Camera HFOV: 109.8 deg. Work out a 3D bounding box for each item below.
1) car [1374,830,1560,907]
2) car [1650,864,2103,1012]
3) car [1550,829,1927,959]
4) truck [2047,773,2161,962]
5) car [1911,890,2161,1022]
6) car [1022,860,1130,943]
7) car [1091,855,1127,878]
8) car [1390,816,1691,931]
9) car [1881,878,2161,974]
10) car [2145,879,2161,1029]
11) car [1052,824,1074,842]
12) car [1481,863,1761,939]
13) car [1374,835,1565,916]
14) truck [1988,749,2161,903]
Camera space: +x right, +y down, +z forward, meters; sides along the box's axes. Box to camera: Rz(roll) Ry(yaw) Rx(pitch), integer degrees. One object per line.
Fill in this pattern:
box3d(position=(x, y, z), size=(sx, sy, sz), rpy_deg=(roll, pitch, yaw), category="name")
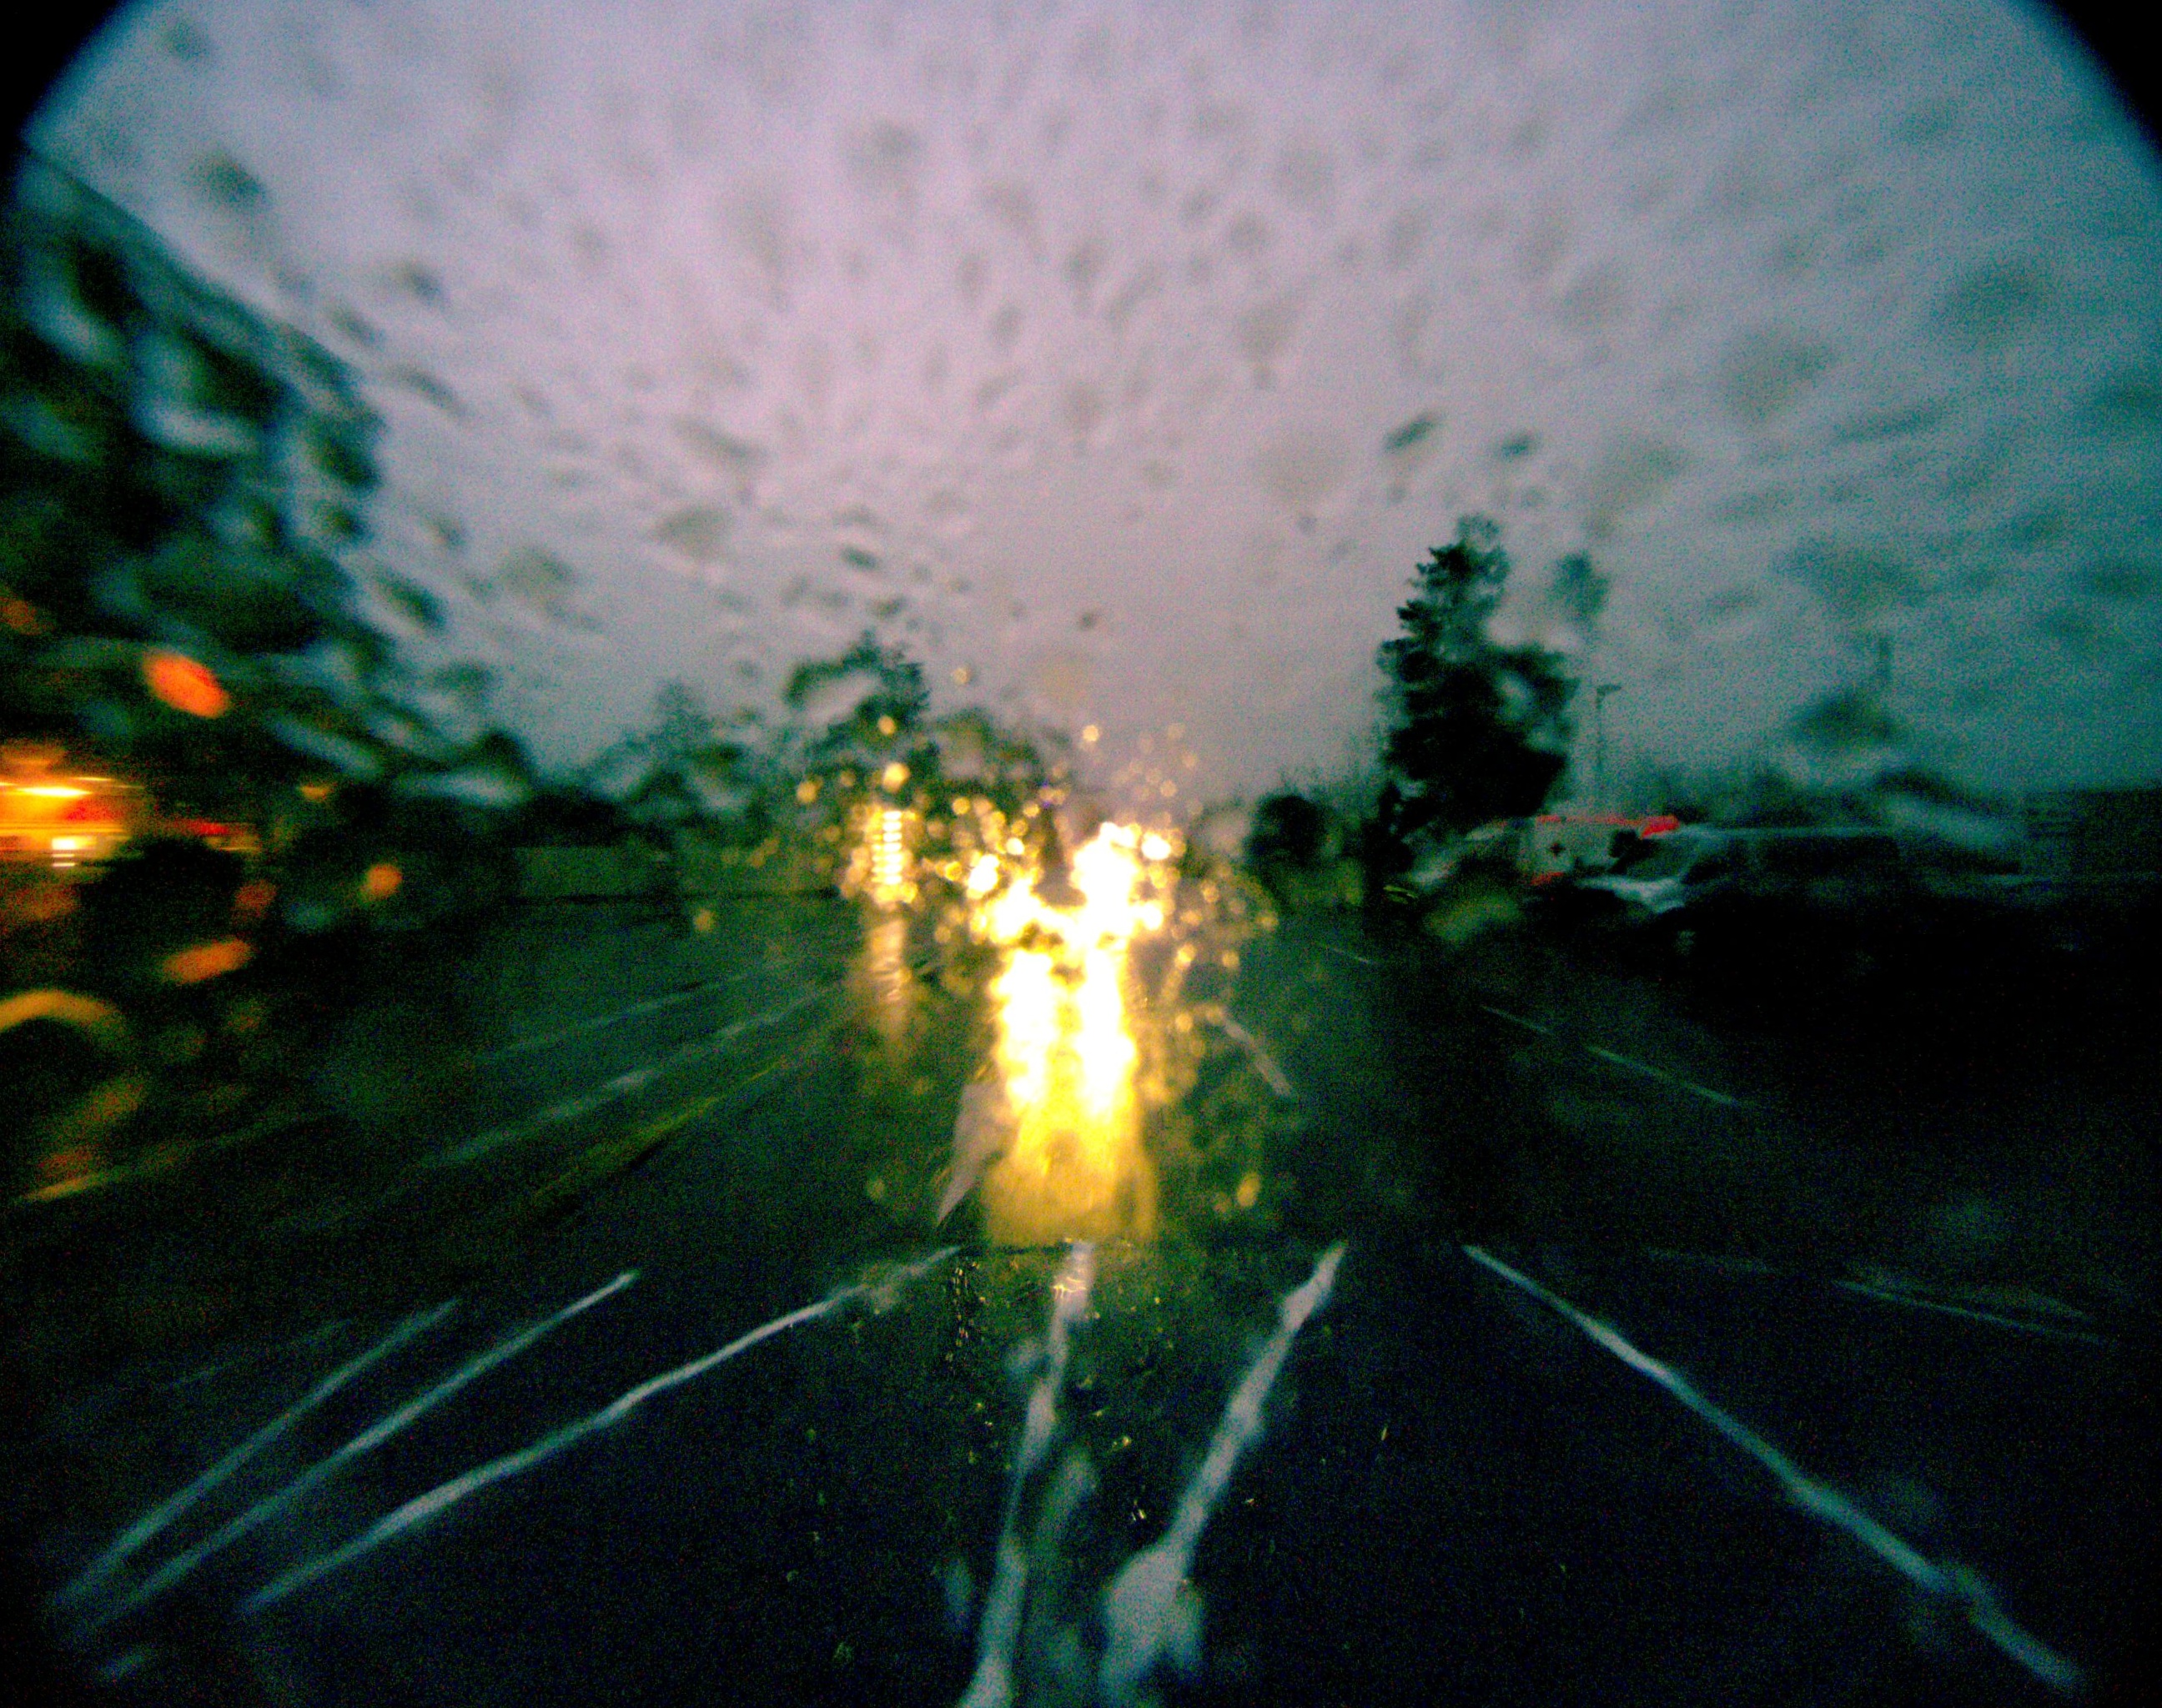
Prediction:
box3d(position=(12.718, 0.466, 25.263), size=(5.115, 2.376, 2.081), rpy_deg=(1, 0, -1), category="car")
box3d(position=(9.085, 0.853, 9.217), size=(1.655, 1.411, 3.744), rpy_deg=(0, -1, 2), category="car")
box3d(position=(12.001, 0.694, 14.187), size=(5.158, 2.137, 2.059), rpy_deg=(1, 0, 1), category="car")
box3d(position=(20.668, 0.268, 12.425), size=(2.036, 3.434, 5.851), rpy_deg=(2, 0, -3), category="truck")
box3d(position=(12.319, 1.145, 9.077), size=(3.312, 1.320, 1.480), rpy_deg=(-1, 1, -3), category="car")
box3d(position=(-0.193, 0.909, 16.287), size=(2.016, 1.484, 3.999), rpy_deg=(-1, 0, -3), category="car")
box3d(position=(1.840, 0.795, 51.040), size=(2.016, 1.484, 3.999), rpy_deg=(0, 0, -3), category="car")
box3d(position=(11.324, 0.471, 19.099), size=(6.171, 2.617, 2.176), rpy_deg=(1, 0, 1), category="car")
box3d(position=(15.619, 1.092, 12.075), size=(3.998, 1.374, 1.842), rpy_deg=(0, -1, -3), category="car")
box3d(position=(12.337, 0.989, 6.939), size=(3.236, 1.483, 1.498), rpy_deg=(0, 0, -2), category="car")
box3d(position=(-1.703, -2.022, 74.002), size=(1.889, 1.618, 4.000), rpy_deg=(-2, 0, 2), category="car")
box3d(position=(11.803, 0.996, 16.876), size=(4.760, 1.474, 1.955), rpy_deg=(1, 0, 1), category="car")
box3d(position=(11.558, 0.621, 22.843), size=(4.678, 2.259, 1.988), rpy_deg=(1, 0, 1), category="car")
box3d(position=(33.011, -0.923, 23.059), size=(8.714, 4.237, 3.004), rpy_deg=(-2, 1, -9), category="truck")
